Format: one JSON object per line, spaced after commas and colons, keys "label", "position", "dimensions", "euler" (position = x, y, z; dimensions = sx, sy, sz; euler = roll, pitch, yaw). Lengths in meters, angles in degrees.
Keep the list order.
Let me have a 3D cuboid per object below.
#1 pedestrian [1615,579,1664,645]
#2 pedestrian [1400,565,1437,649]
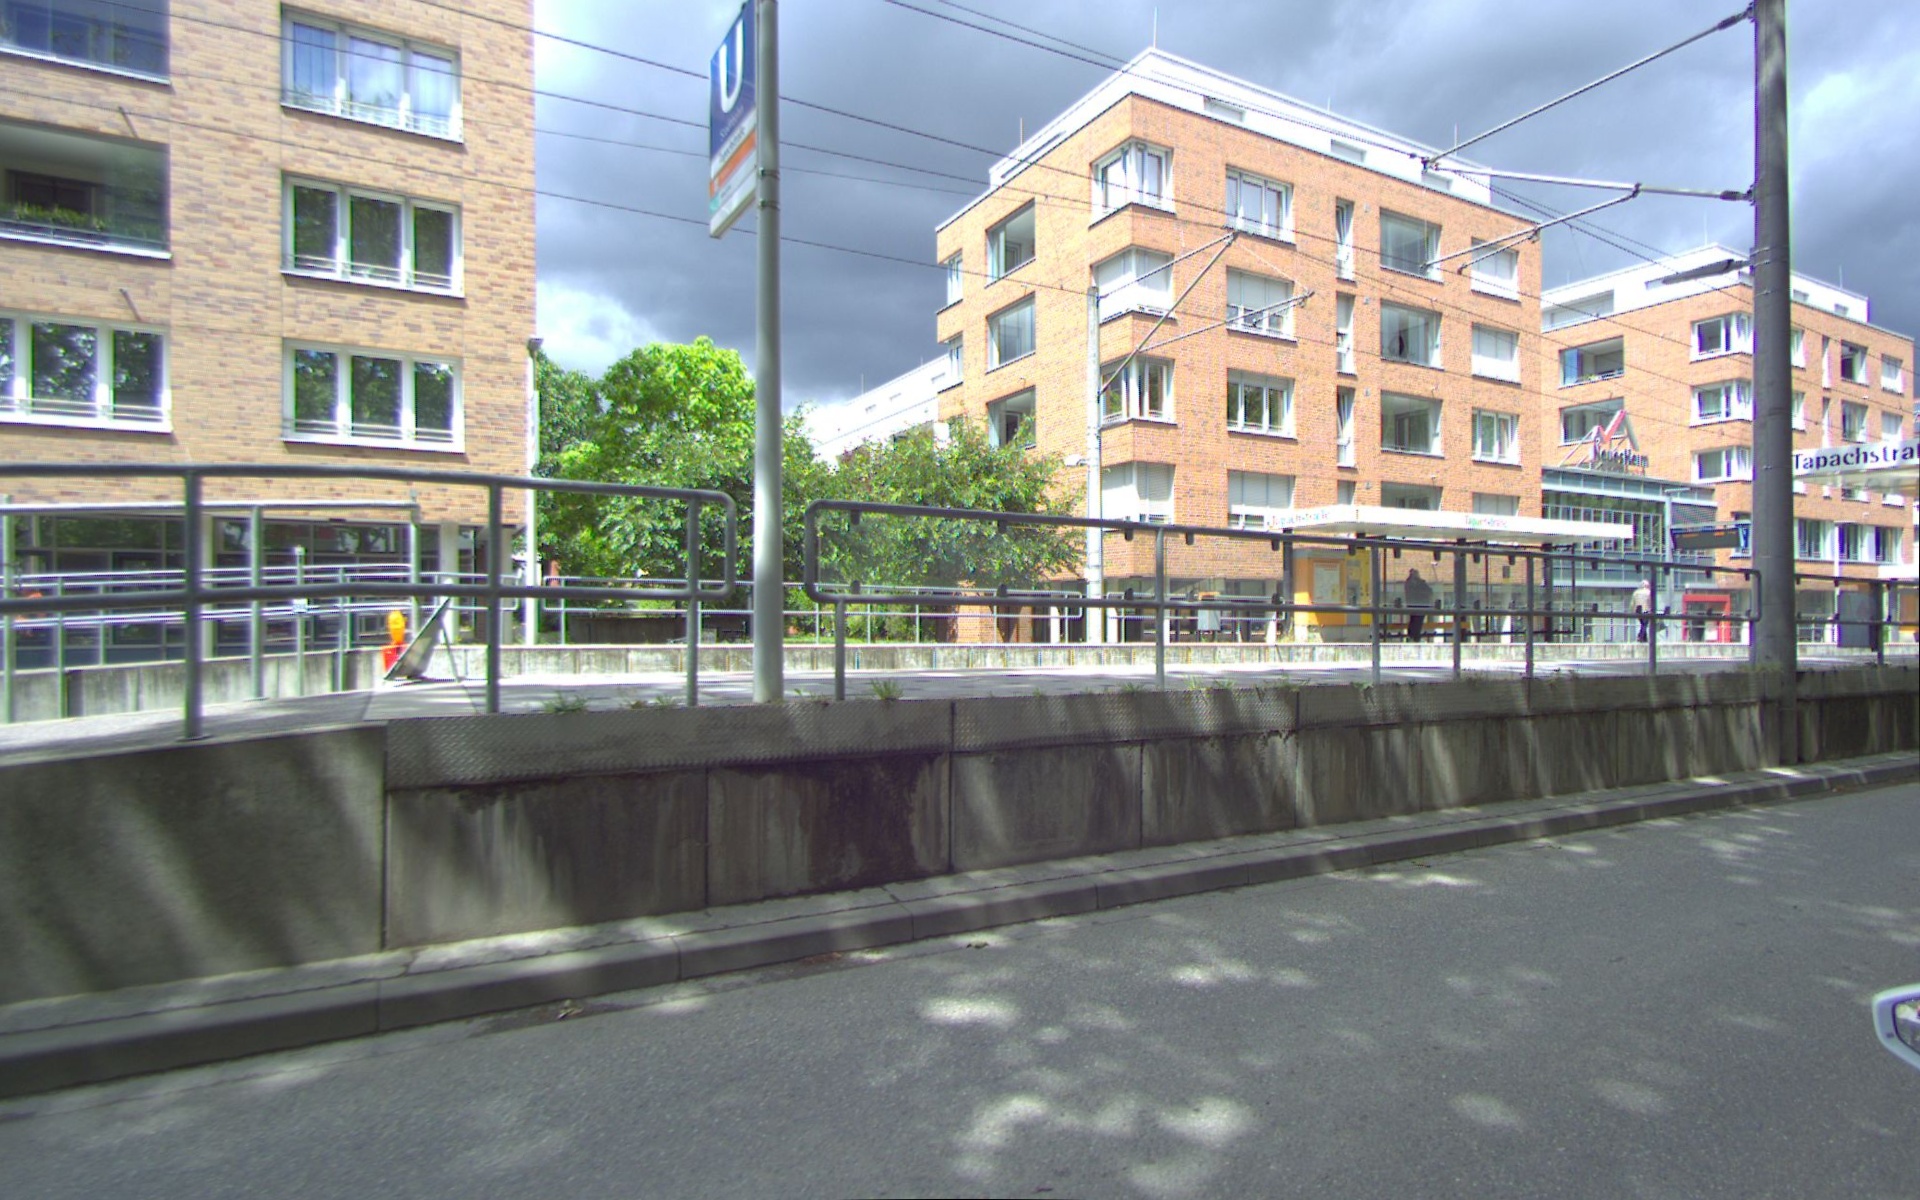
{"label": "pedestrian", "position": [17.369, 0.307, 25.686], "dimensions": [0.806, 1.650, 0.748], "euler": [1, 0, -29]}
{"label": "pedestrian", "position": [9.869, 0.157, 21.632], "dimensions": [0.522, 1.787, 0.531], "euler": [1, -1, -32]}
